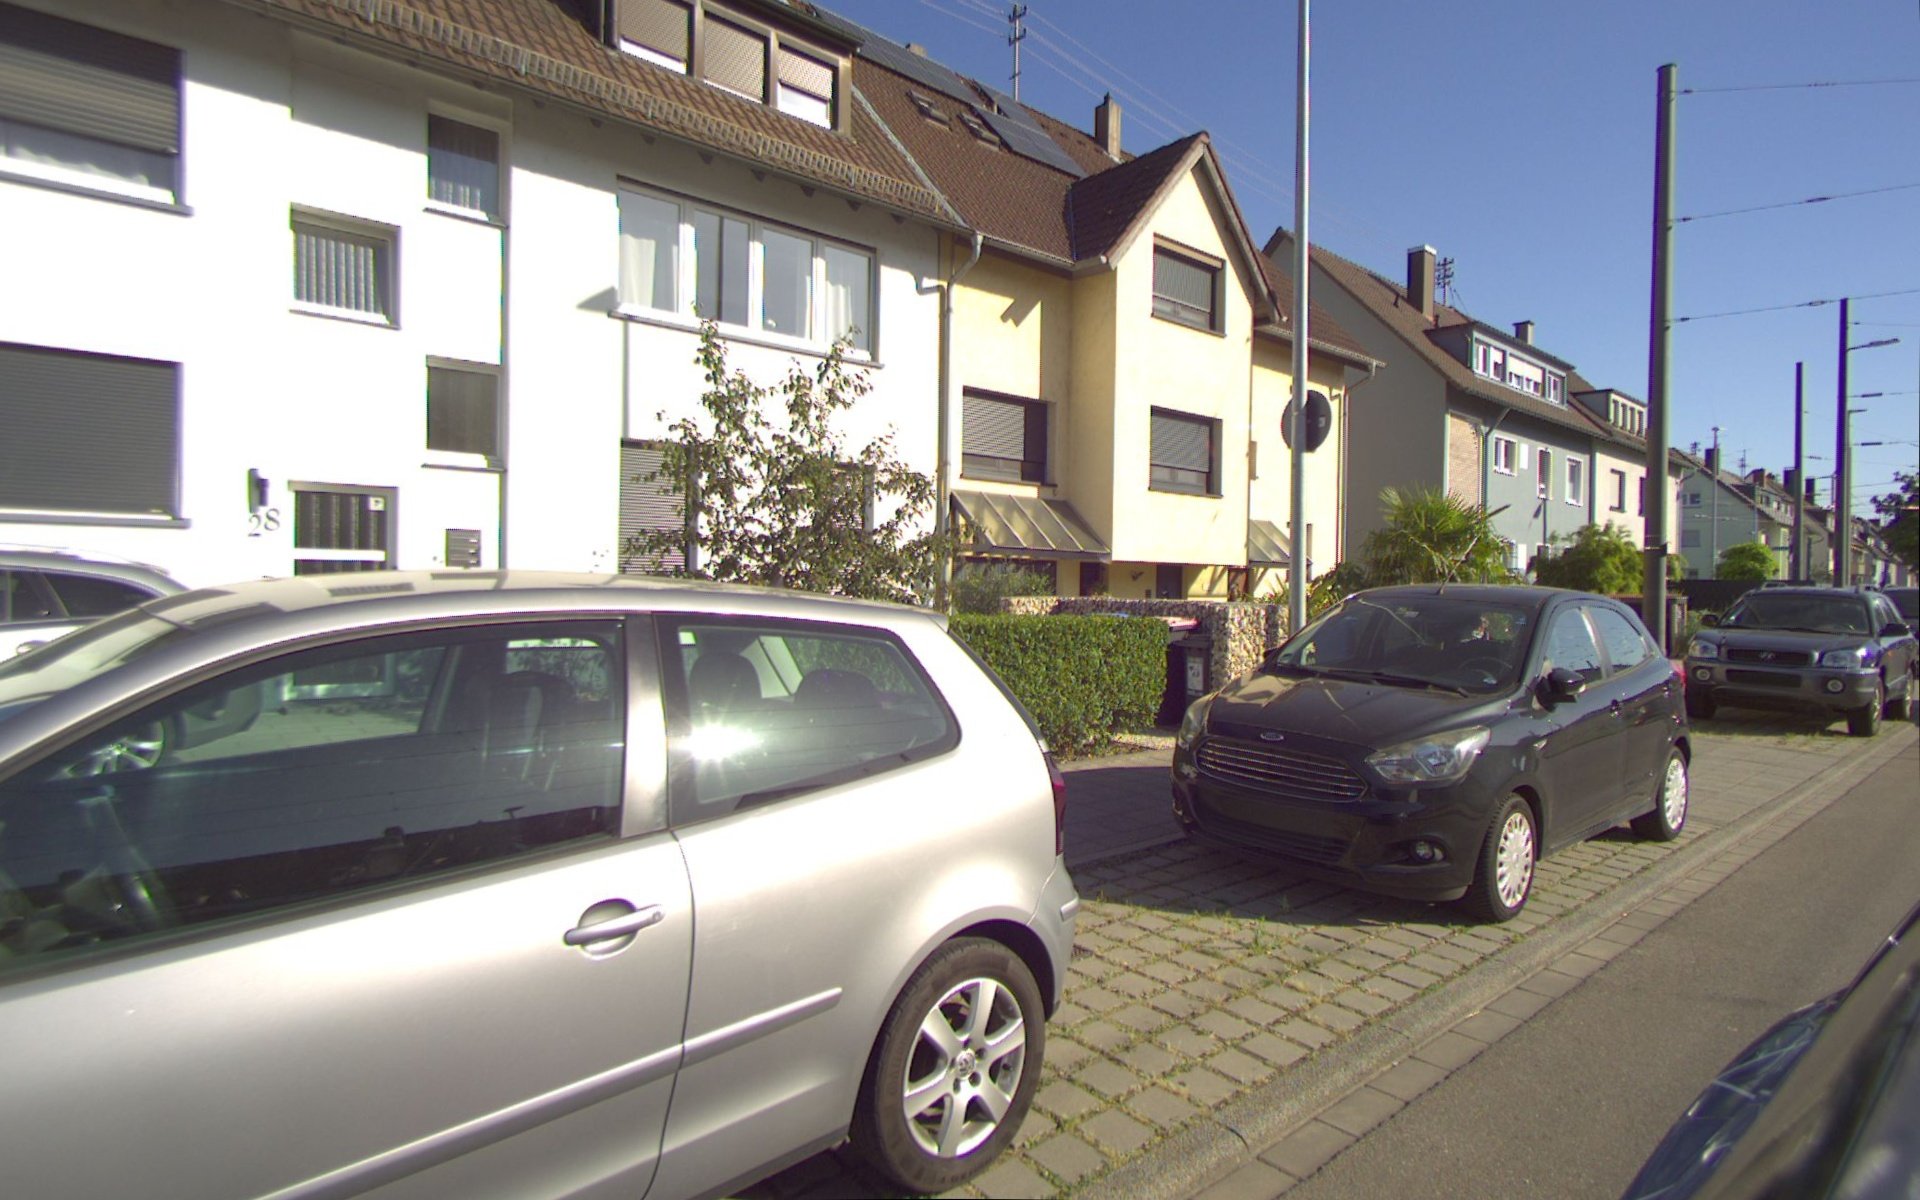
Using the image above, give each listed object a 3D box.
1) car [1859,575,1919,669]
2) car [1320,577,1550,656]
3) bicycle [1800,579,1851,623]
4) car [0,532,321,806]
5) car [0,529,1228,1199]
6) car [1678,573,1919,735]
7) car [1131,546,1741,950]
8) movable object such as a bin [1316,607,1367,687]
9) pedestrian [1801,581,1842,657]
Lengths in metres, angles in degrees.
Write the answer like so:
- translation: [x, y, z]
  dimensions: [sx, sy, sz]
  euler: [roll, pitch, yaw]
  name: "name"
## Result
- translation: [20.890, 0.431, 21.564]
  dimensions: [4.841, 1.859, 1.965]
  euler: [0, 2, -41]
  name: "car"
- translation: [10.331, 0.300, 22.239]
  dimensions: [1.867, 1.486, 4.172]
  euler: [1, 1, -41]
  name: "car"
- translation: [20.525, 0.015, 23.990]
  dimensions: [1.534, 0.991, 0.602]
  euler: [-1, 3, -39]
  name: "bicycle"
- translation: [-6.280, 0.345, 5.168]
  dimensions: [1.979, 1.463, 4.842]
  euler: [2, 2, 24]
  name: "car"
- translation: [-1.352, 0.630, 2.204]
  dimensions: [4.373, 1.493, 1.618]
  euler: [-1, 2, -42]
  name: "car"
- translation: [10.773, 0.536, 12.713]
  dimensions: [4.395, 1.680, 1.858]
  euler: [0, 1, -41]
  name: "car"
- translation: [2.895, 0.546, 5.828]
  dimensions: [3.766, 1.566, 1.671]
  euler: [0, 3, -39]
  name: "car"
- translation: [5.257, 0.648, 13.953]
  dimensions: [0.557, 1.076, 0.202]
  euler: [-4, -1, 44]
  name: "movable object such as a bin"
- translation: [20.189, 0.434, 23.719]
  dimensions: [0.702, 1.745, 0.584]
  euler: [0, 1, -39]
  name: "pedestrian"
